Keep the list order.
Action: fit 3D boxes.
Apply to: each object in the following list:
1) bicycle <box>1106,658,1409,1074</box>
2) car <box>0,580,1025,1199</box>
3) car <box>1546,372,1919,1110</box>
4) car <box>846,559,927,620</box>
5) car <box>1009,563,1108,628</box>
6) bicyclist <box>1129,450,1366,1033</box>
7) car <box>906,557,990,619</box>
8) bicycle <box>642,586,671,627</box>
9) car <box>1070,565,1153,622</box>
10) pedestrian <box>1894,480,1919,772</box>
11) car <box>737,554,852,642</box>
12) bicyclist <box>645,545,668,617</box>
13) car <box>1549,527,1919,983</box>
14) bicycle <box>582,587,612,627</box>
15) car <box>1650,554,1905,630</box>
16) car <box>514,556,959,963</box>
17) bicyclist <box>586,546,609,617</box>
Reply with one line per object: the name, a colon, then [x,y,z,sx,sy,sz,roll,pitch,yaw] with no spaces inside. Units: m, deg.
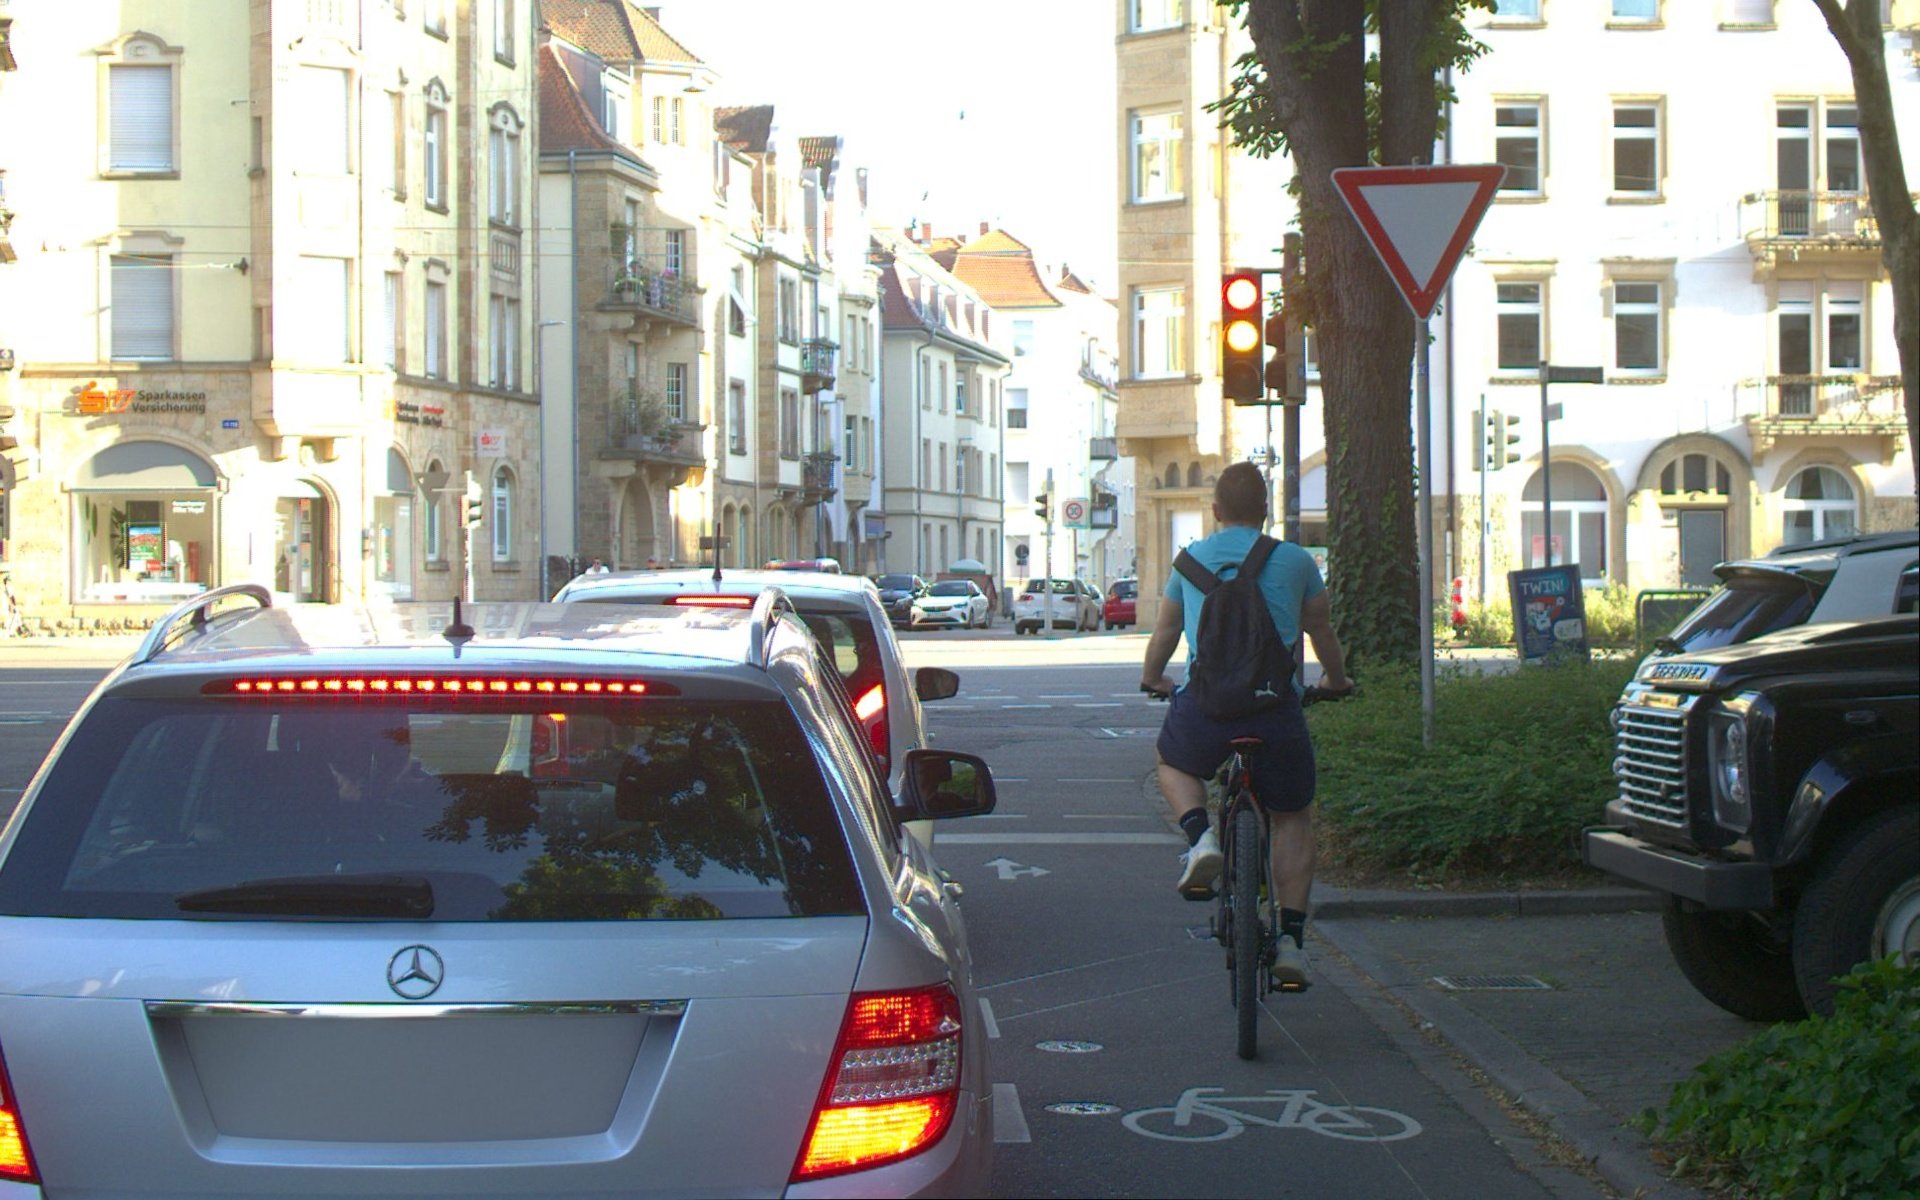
bicycle: [0.895,0.780,10.865,0.742,1.114,2.013,1,1,-1]
car: [-0.862,0.706,6.461,1.690,1.424,3.493,1,1,-3]
car: [4.191,0.289,10.179,4.490,1.949,1.793,-2,1,-3]
car: [-2.179,-0.301,102.362,1.651,1.777,3.861,0,0,11]
car: [2.484,-0.127,85.850,1.722,1.473,3.998,-2,1,12]
bicyclist: [0.898,0.427,10.895,0.646,1.769,0.831,1,0,-1]
car: [-0.331,-0.368,98.080,1.687,1.716,3.998,0,1,10]
bicycle: [-6.470,0.137,73.350,0.568,0.832,1.566,0,1,-4]
car: [4.526,-0.221,102.082,1.722,1.473,3.998,-4,1,12]
pedestrian: [6.337,0.160,21.829,0.631,1.838,0.575,0,1,-4]
car: [-3.808,-0.073,79.790,1.938,1.952,4.149,0,1,8]
bicyclist: [-6.481,-0.405,73.406,0.466,1.516,0.694,0,1,-4]
car: [4.208,0.499,13.141,3.480,1.580,1.711,-2,1,-6]
bicycle: [-7.720,0.146,73.169,0.568,0.832,1.566,0,1,-4]
car: [11.875,-0.130,50.015,3.364,1.065,1.380,0,1,-1]
car: [-0.842,0.532,13.726,1.533,1.386,3.600,0,1,-2]
bicyclist: [-7.723,-0.398,73.257,0.466,1.509,0.655,0,1,-4]
